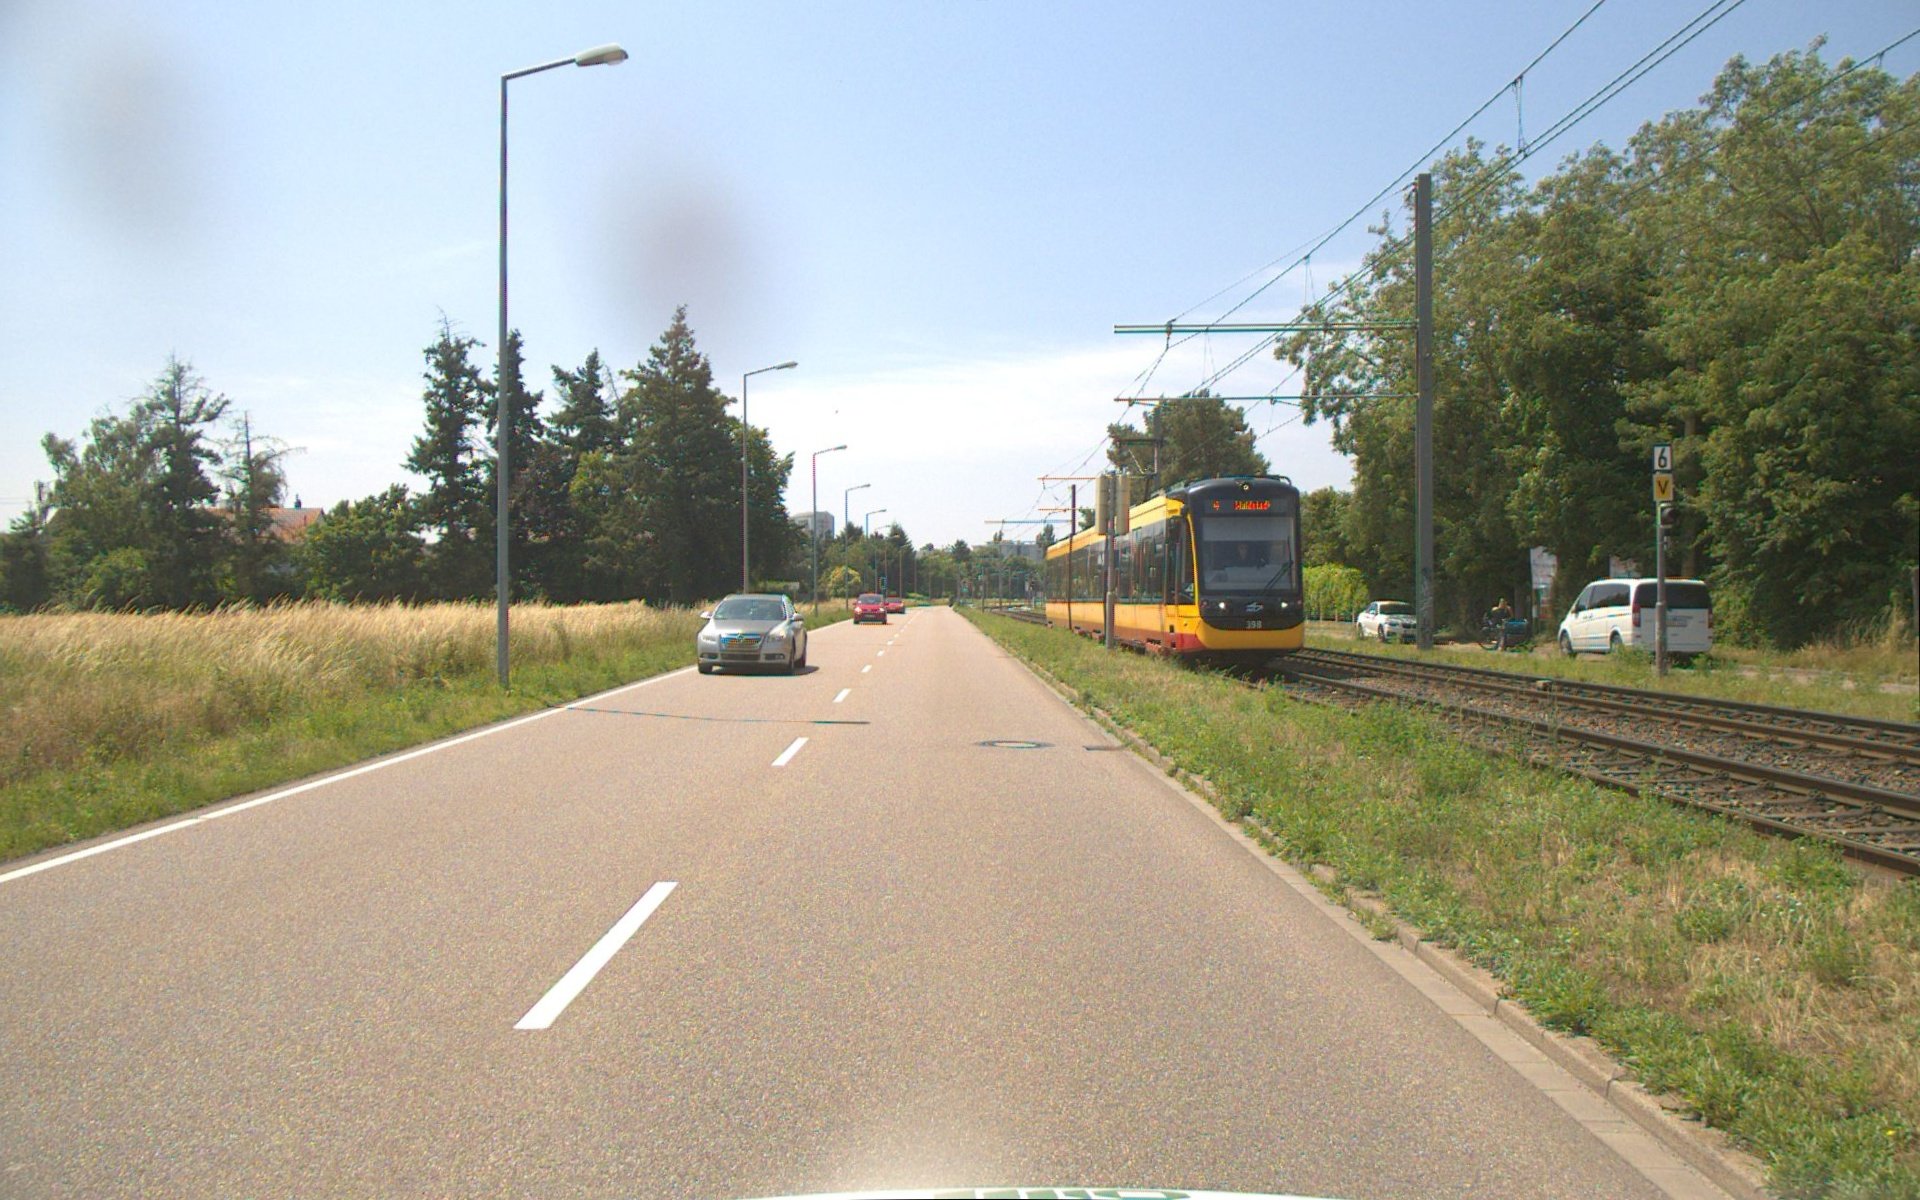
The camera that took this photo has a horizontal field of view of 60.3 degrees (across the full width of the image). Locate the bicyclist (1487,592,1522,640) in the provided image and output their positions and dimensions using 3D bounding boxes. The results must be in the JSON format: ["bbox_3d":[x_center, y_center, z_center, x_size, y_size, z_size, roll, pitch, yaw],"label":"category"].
[{"bbox_3d":[15.983,0.470,48.557,0.687,1.361,0.903,-1,-1,-1],"label":"bicyclist"}]

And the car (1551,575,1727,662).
[{"bbox_3d":[15.411,0.438,37.845,1.953,1.834,4.793,-1,-1,-1],"label":"car"}]

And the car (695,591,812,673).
[{"bbox_3d":[-3.992,0.632,32.634,1.797,1.493,4.677,0,-1,-1],"label":"car"}]

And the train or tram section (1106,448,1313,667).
[{"bbox_3d":[4.916,-0.678,34.974,2.380,3.832,11.555,-1,-1,-1],"label":"train or tram section"}]

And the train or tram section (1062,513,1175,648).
[{"bbox_3d":[4.768,-0.520,50.939,2.646,3.832,6.727,-1,-1,-1],"label":"train or tram section"}]

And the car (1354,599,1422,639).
[{"bbox_3d":[14.766,0.668,57.246,1.399,1.331,3.465,-1,-1,-1],"label":"car"}]

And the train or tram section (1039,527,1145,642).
[{"bbox_3d":[4.608,-0.424,59.932,2.709,3.754,11.182,-1,-1,-1],"label":"train or tram section"}]

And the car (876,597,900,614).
[{"bbox_3d":[-5.693,0.468,130.973,1.771,1.308,4.285,-1,-1,-1],"label":"car"}]

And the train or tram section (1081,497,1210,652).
[{"bbox_3d":[4.824,-0.581,44.179,2.509,3.779,6.727,-1,-1,-1],"label":"train or tram section"}]

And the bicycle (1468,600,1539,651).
[{"bbox_3d":[15.948,0.752,48.663,0.909,1.455,3.384,-1,-1,-1],"label":"bicycle"}]

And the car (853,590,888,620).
[{"bbox_3d":[-4.498,0.274,83.536,1.612,1.424,3.843,-1,-1,-1],"label":"car"}]
